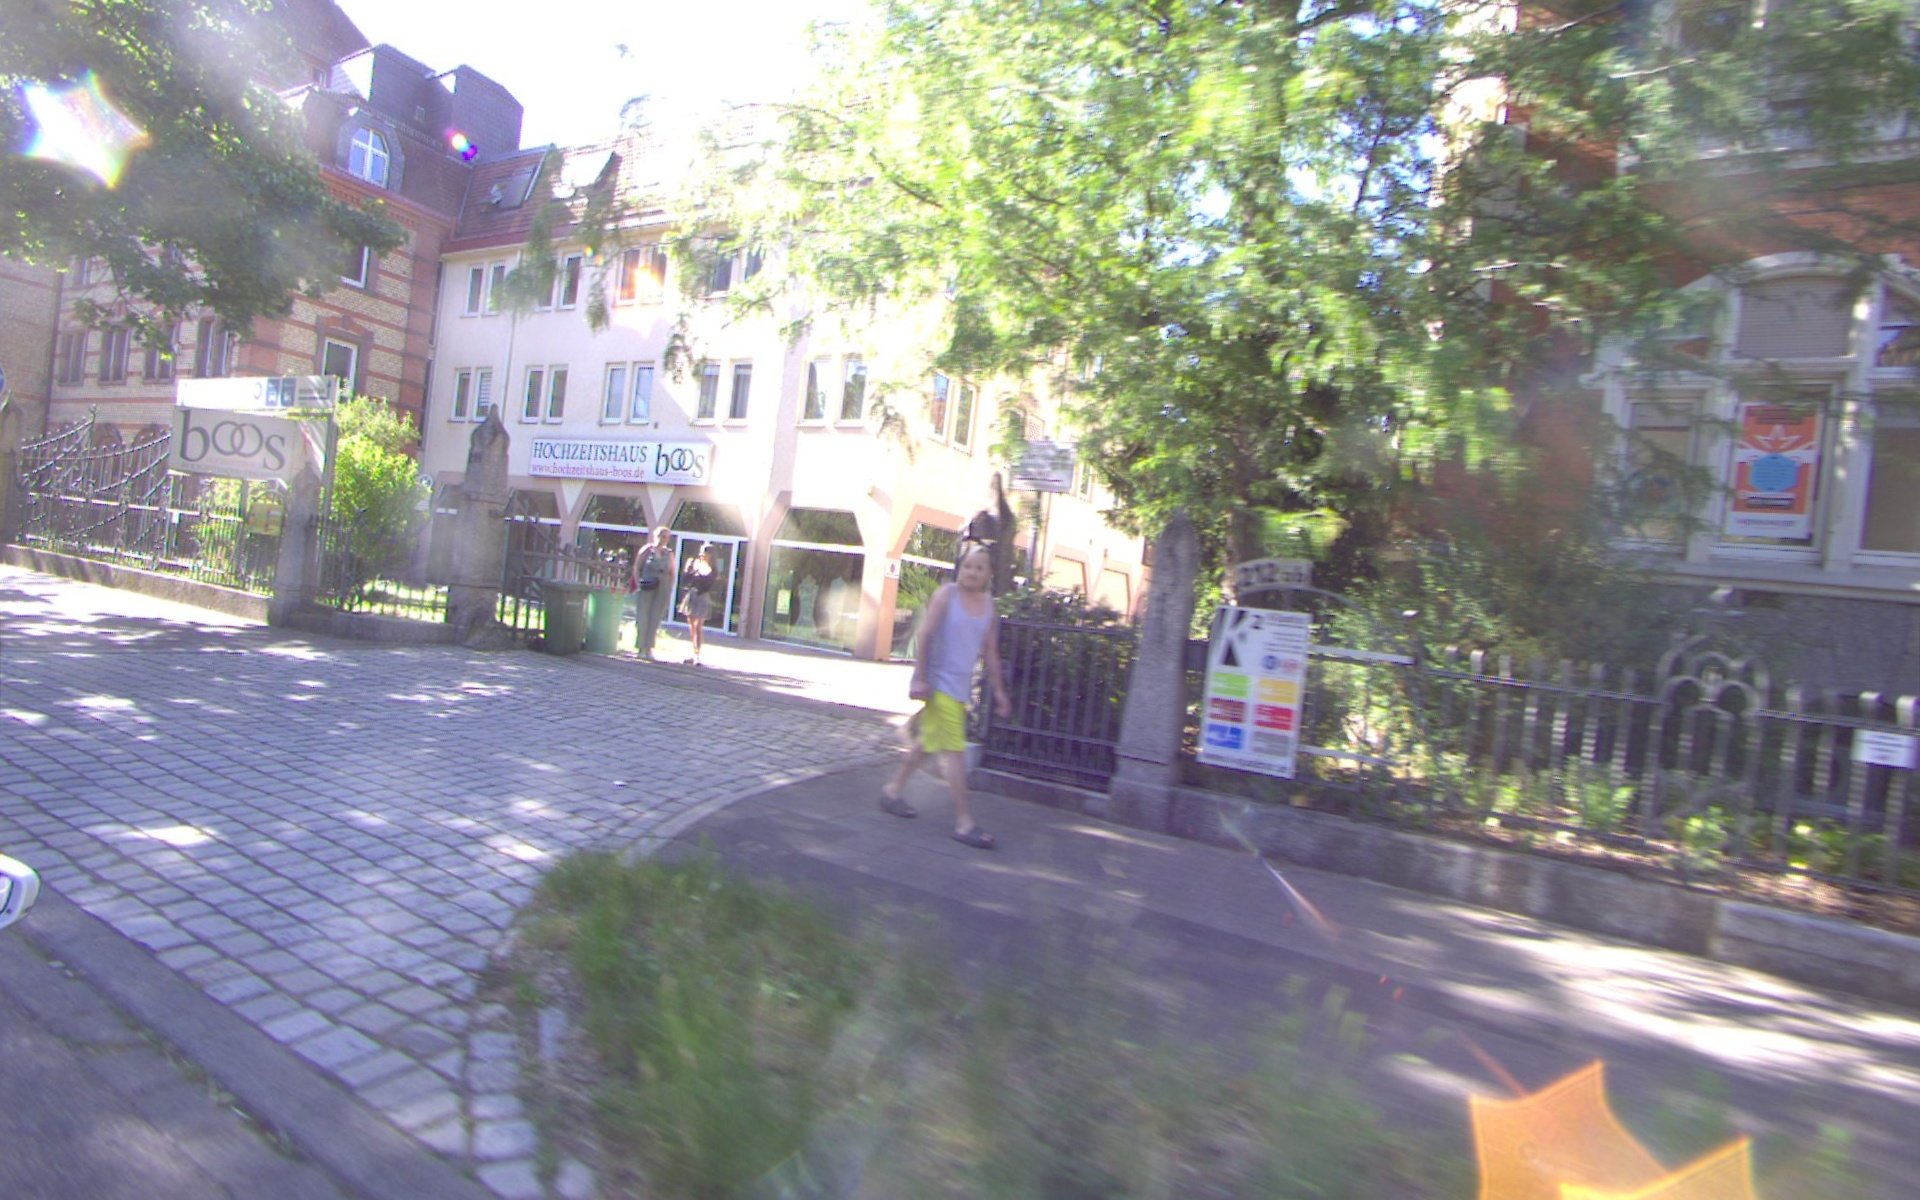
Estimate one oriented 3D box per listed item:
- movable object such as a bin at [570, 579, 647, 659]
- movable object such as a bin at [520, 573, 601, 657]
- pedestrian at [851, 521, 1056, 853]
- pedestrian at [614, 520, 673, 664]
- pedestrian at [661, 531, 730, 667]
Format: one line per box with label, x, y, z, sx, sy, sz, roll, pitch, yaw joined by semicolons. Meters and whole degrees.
movable object such as a bin;-4.676;0.253;13.381;0.656;0.978;0.625;7;2;31
movable object such as a bin;-5.078;0.192;12.786;0.656;0.978;0.625;7;2;31
pedestrian;-0.048;0.482;6.071;0.745;1.811;0.800;3;4;-45
pedestrian;-4.139;-0.107;13.145;0.535;1.801;0.530;6;1;-22
pedestrian;-3.510;-0.010;13.372;0.506;1.731;0.539;7;1;24
